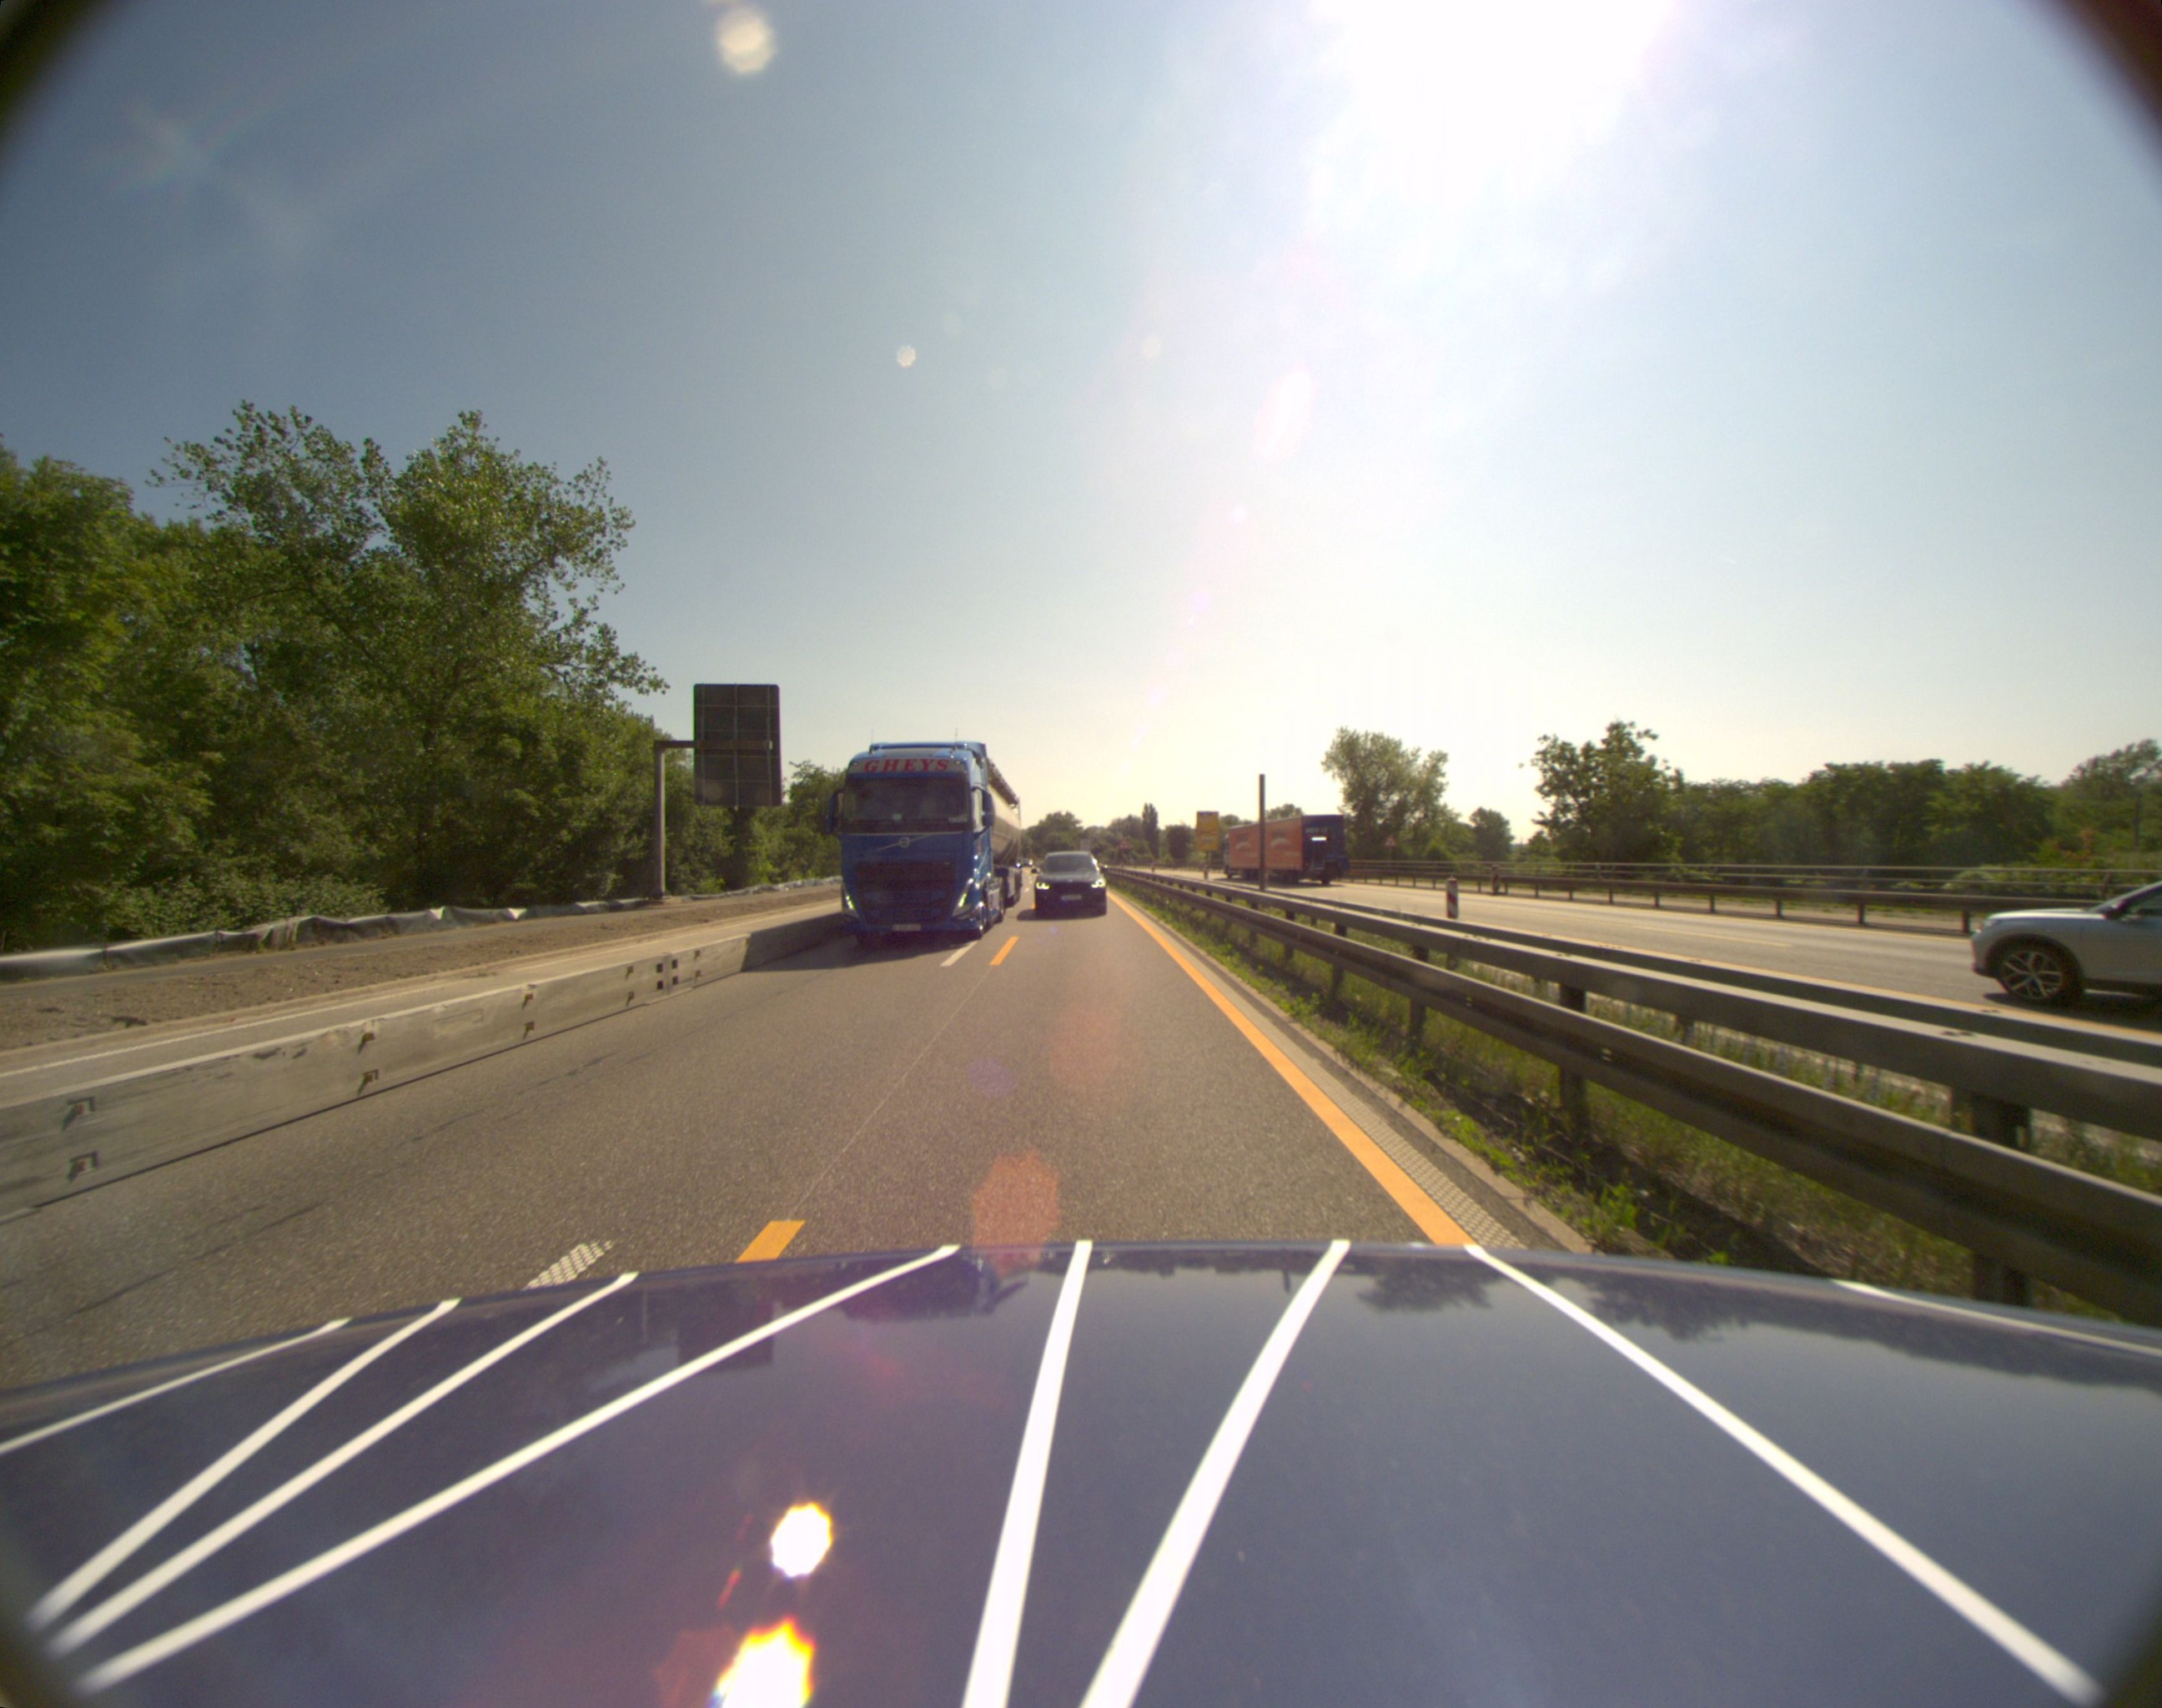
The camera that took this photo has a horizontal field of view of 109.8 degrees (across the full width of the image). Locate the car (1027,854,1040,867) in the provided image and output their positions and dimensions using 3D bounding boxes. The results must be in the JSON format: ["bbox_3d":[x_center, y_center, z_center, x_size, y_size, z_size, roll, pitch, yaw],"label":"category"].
[{"bbox_3d":[-7.660,0.976,122.530,1.999,2.002,3.999,1,0,-2],"label":"car"}]

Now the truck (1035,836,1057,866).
[{"bbox_3d":[-4.867,-0.350,105.663,2.862,3.961,8.663,1,0,-3],"label":"truck"}]

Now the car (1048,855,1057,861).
[{"bbox_3d":[-7.547,1.019,199.865,1.725,1.389,4.515,-1,0,-11],"label":"car"}]

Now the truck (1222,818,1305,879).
[{"bbox_3d":[13.456,-0.337,57.274,3.046,4.067,10.621,-2,0,-3],"label":"truck"}]

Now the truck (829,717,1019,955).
[{"bbox_3d":[-3.019,-0.287,16.829,2.701,4.078,7.300,1,0,-1],"label":"truck"}]

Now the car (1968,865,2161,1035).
[{"bbox_3d":[11.923,0.983,7.192,1.914,1.641,4.376,-2,0,0],"label":"car"}]

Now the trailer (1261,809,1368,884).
[{"bbox_3d":[14.107,-0.386,47.032,3.046,4.067,9.785,-2,0,-3],"label":"trailer"}]

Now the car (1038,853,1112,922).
[{"bbox_3d":[-0.251,0.832,21.102,1.790,1.651,4.485,-2,0,-3],"label":"car"}]

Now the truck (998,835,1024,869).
[{"bbox_3d":[-8.679,-0.208,95.053,2.862,3.961,8.663,1,0,-3],"label":"truck"}]

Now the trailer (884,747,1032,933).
[{"bbox_3d":[-3.145,-0.280,23.253,2.701,4.113,12.612,1,0,-1],"label":"trailer"}]
